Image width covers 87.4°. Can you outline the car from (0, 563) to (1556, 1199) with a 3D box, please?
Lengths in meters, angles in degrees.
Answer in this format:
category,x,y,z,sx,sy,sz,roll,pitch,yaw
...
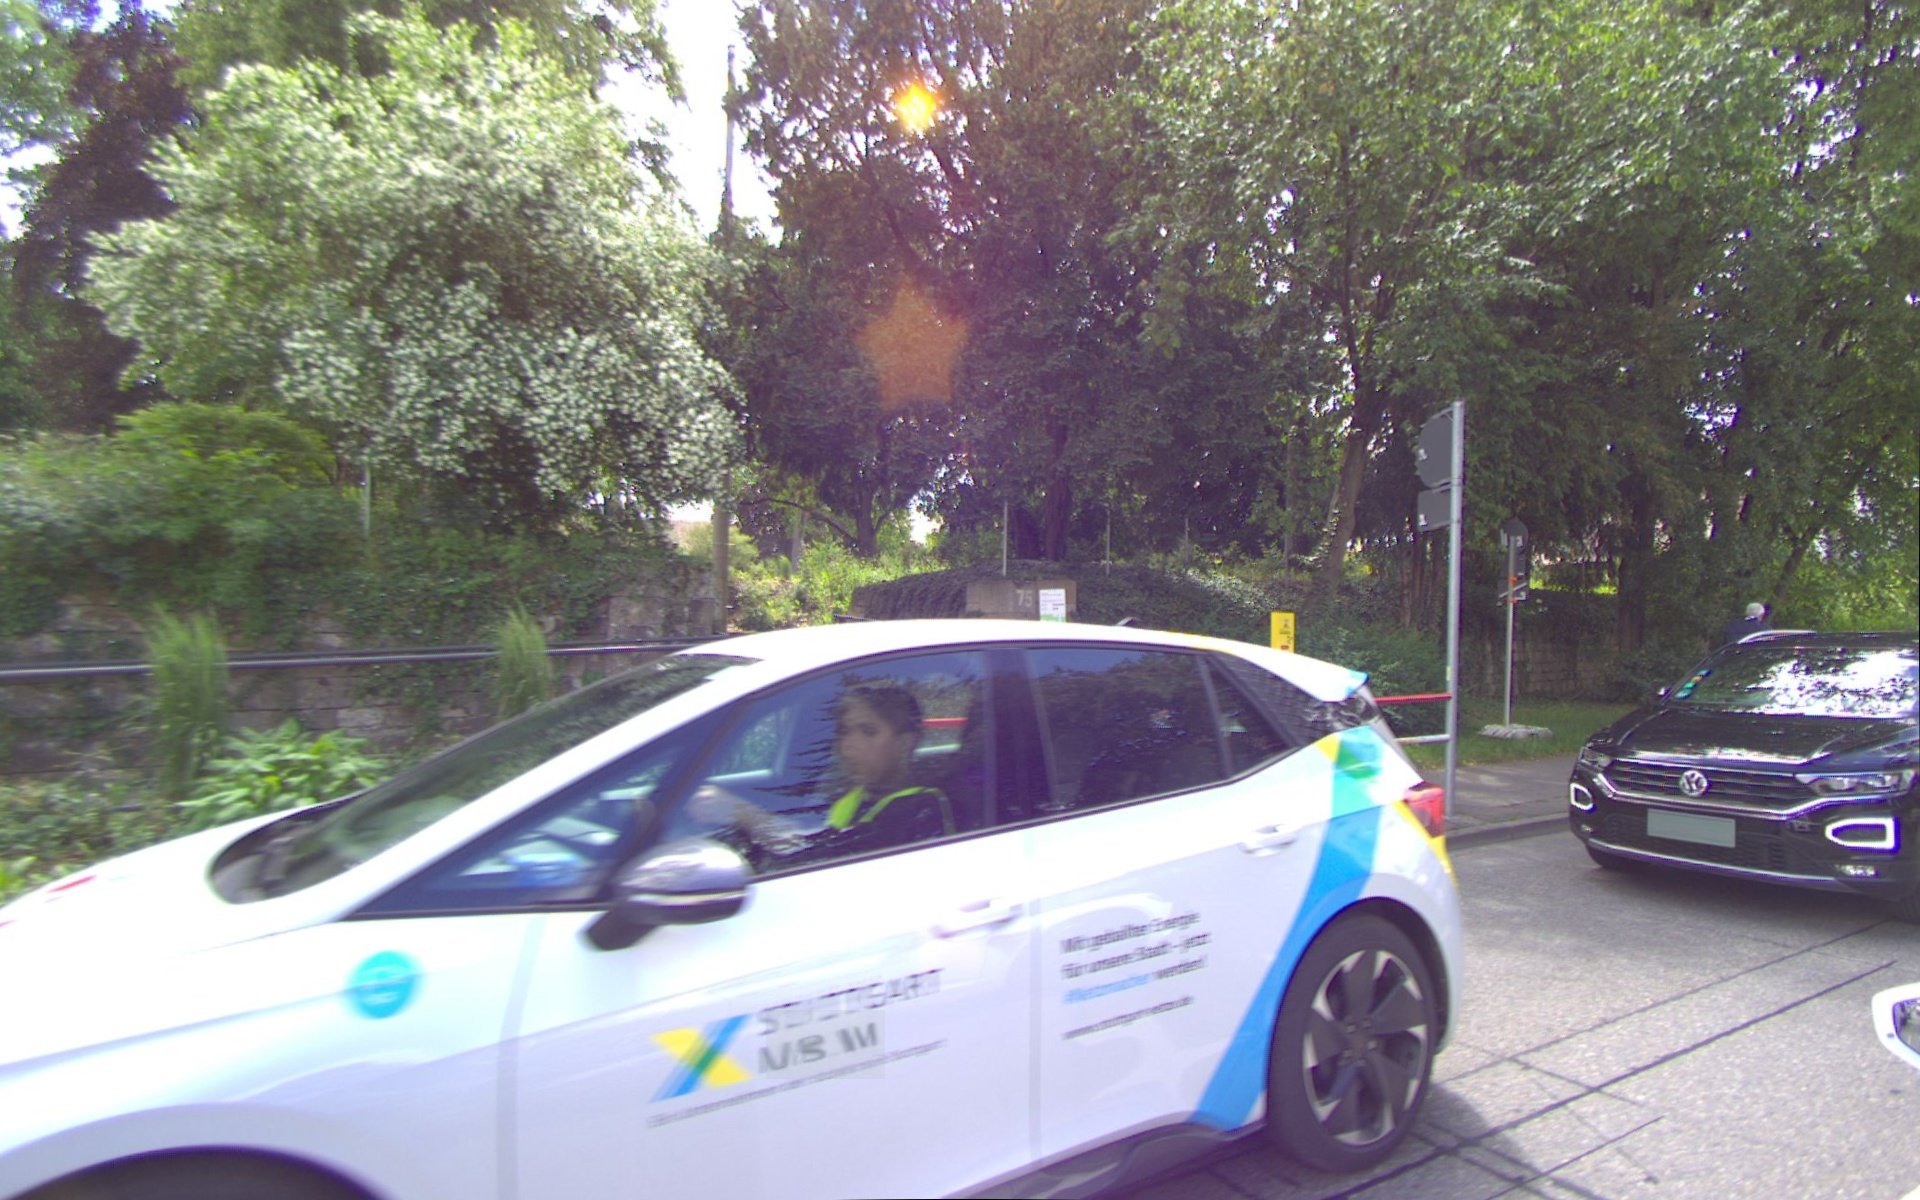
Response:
category,x,y,z,sx,sy,sz,roll,pitch,yaw
car,-0.356,0.821,2.884,4.105,1.612,1.777,1,-3,-30

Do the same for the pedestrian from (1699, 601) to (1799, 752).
category,x,y,z,sx,sy,sz,roll,pitch,yaw
pedestrian,9.854,0.927,12.543,1.111,1.785,0.709,2,-1,-36

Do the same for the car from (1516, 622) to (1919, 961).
category,x,y,z,sx,sy,sz,roll,pitch,yaw
car,5.726,0.953,6.469,4.211,1.562,1.782,1,-3,-29
